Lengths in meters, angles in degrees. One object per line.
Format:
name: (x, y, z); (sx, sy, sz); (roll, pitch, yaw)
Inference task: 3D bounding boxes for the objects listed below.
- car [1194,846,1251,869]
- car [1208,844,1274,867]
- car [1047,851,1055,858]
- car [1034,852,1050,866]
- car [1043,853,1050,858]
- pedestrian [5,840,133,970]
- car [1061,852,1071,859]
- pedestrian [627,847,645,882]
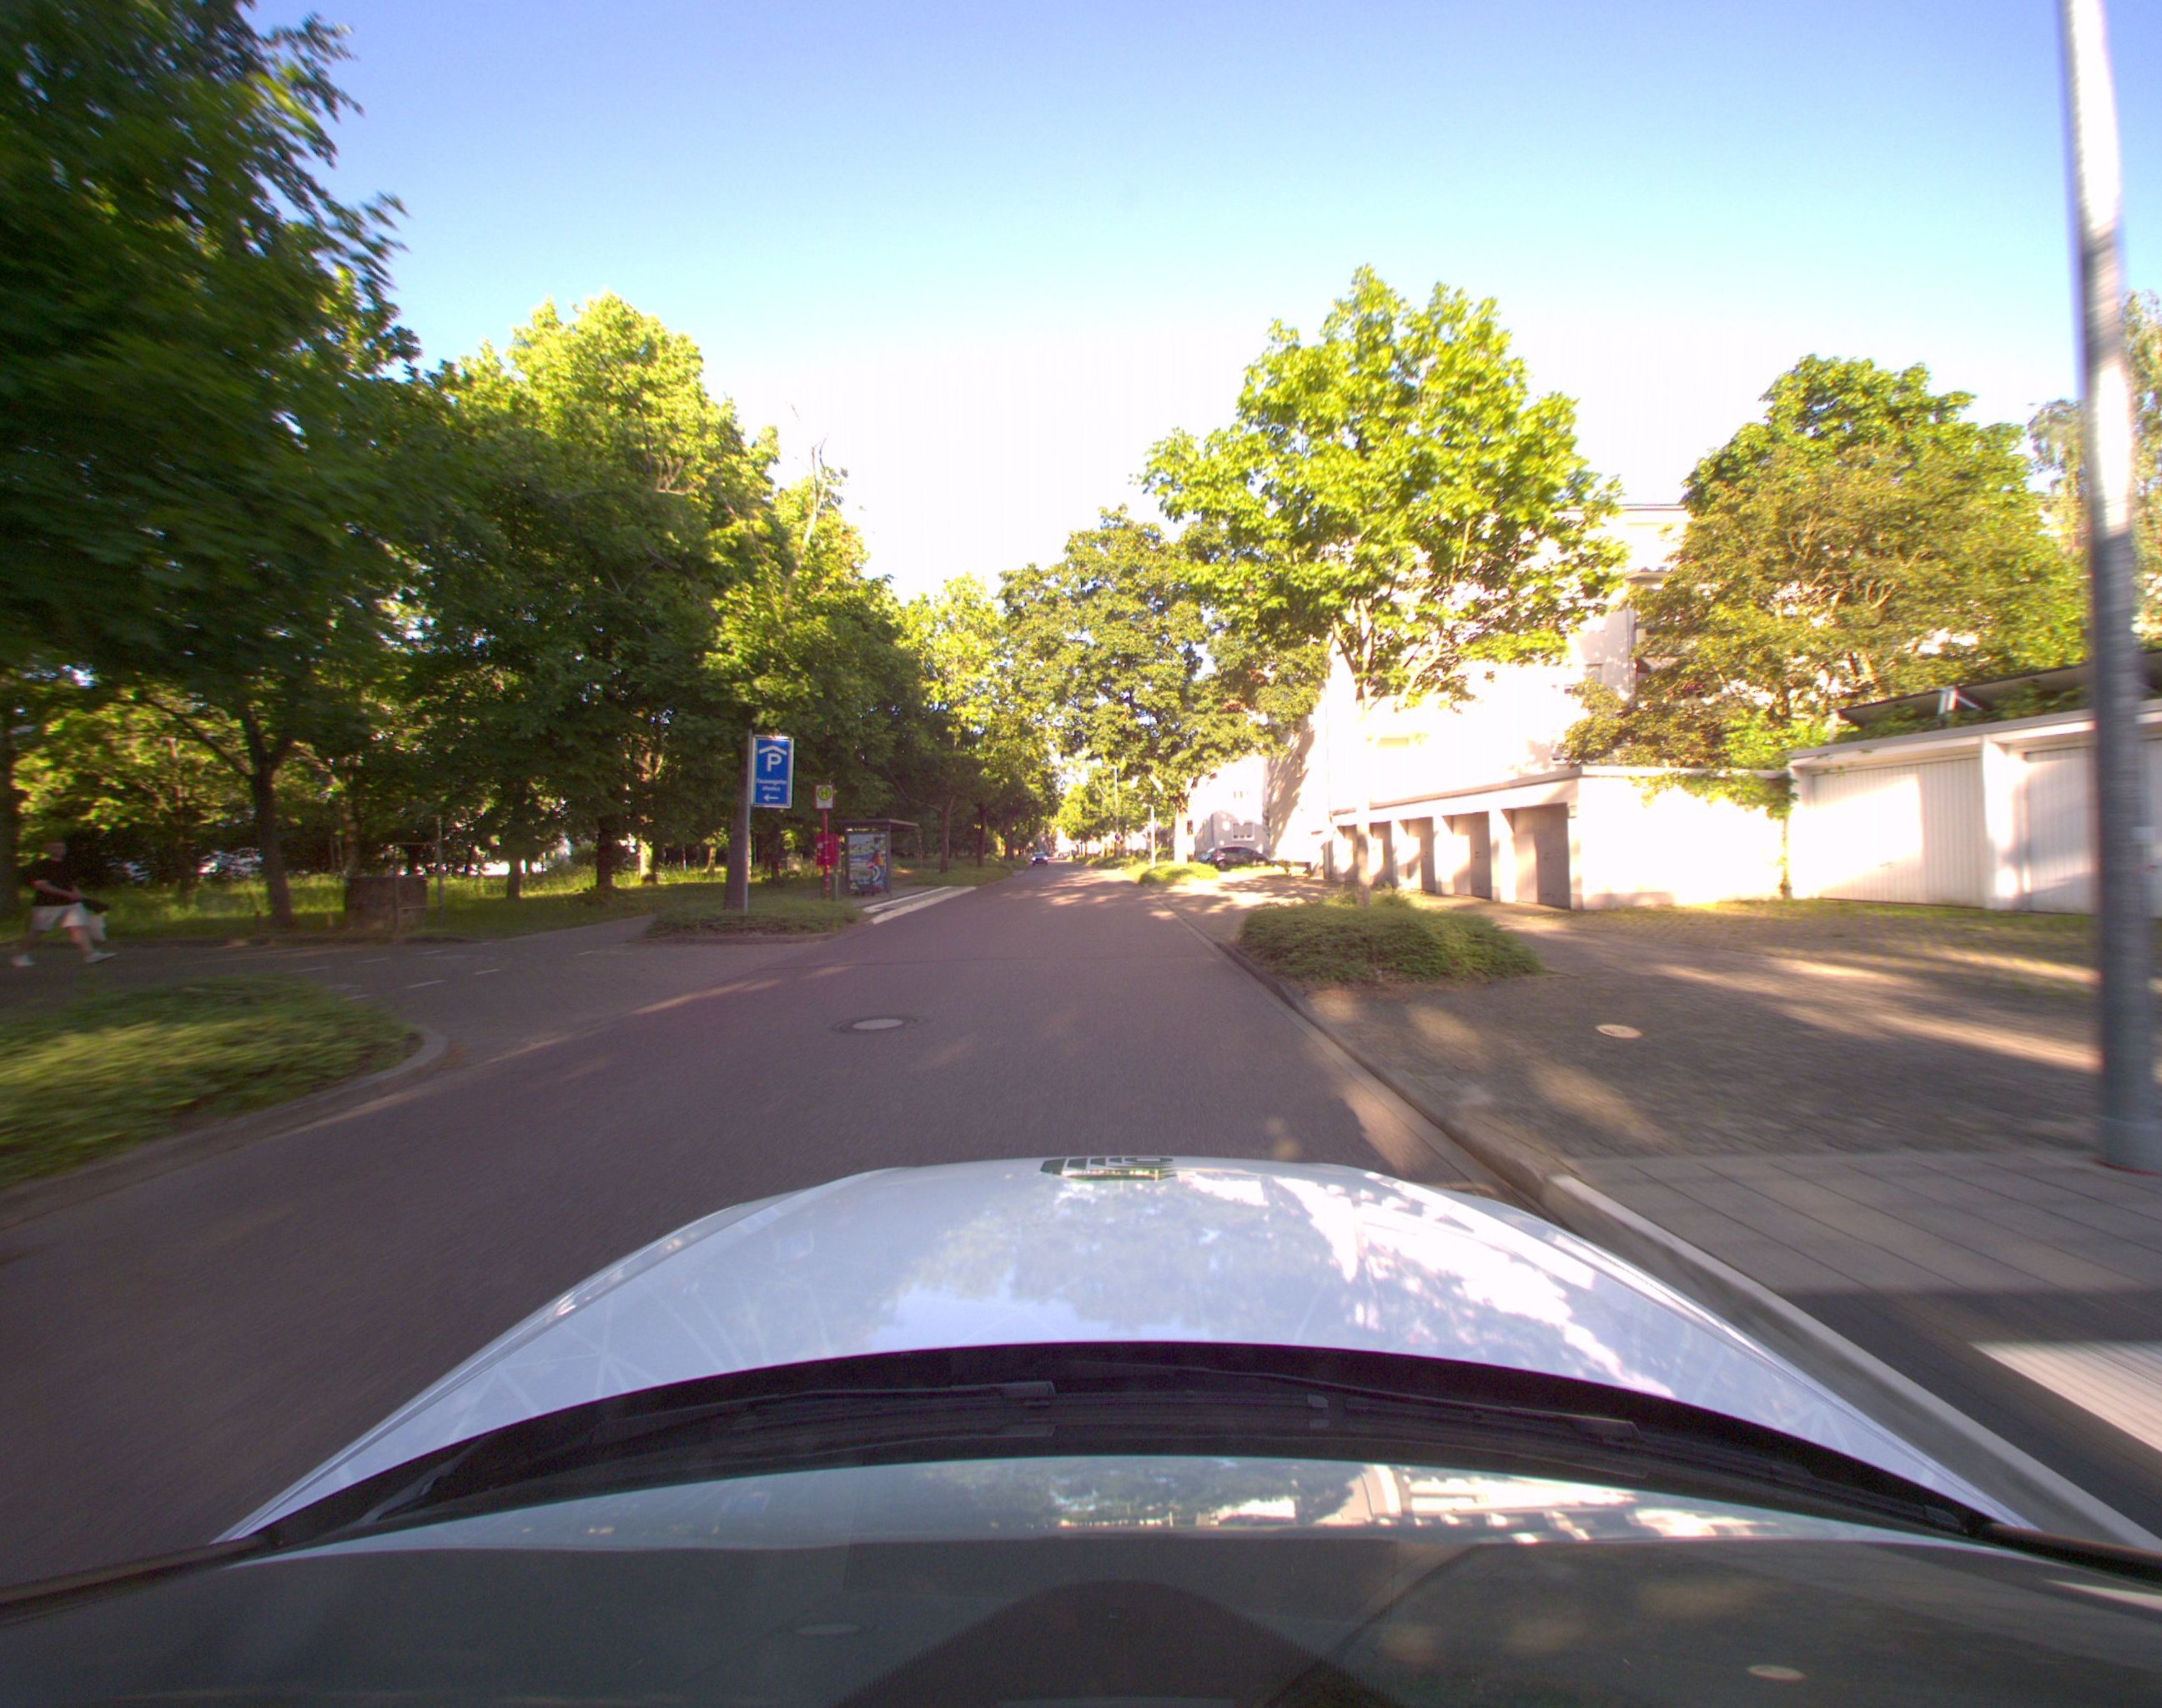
car: (10.784, 0.267, 62.130); (3.979, 1.581, 1.807); (-1, 1, -4)
car: (10.661, 0.107, 54.378); (4.031, 1.514, 1.725); (-1, -1, -3)
car: (-8.230, 0.250, 223.890); (1.809, 1.925, 3.990); (0, 0, -7)
car: (-4.713, 0.582, 98.478); (1.840, 1.578, 4.332); (-3, 0, -3)
car: (-9.749, 0.482, 231.914); (1.809, 1.501, 3.990); (0, 0, -7)
pedestrian: (-14.612, 0.711, 11.783); (0.900, 1.821, 0.720); (-1, 0, -2)
car: (-3.657, 0.421, 195.495); (1.812, 1.501, 3.985); (-2, 0, -11)
pedestrian: (-25.908, 0.632, 47.399); (0.755, 2.014, 0.589); (0, 0, -4)
